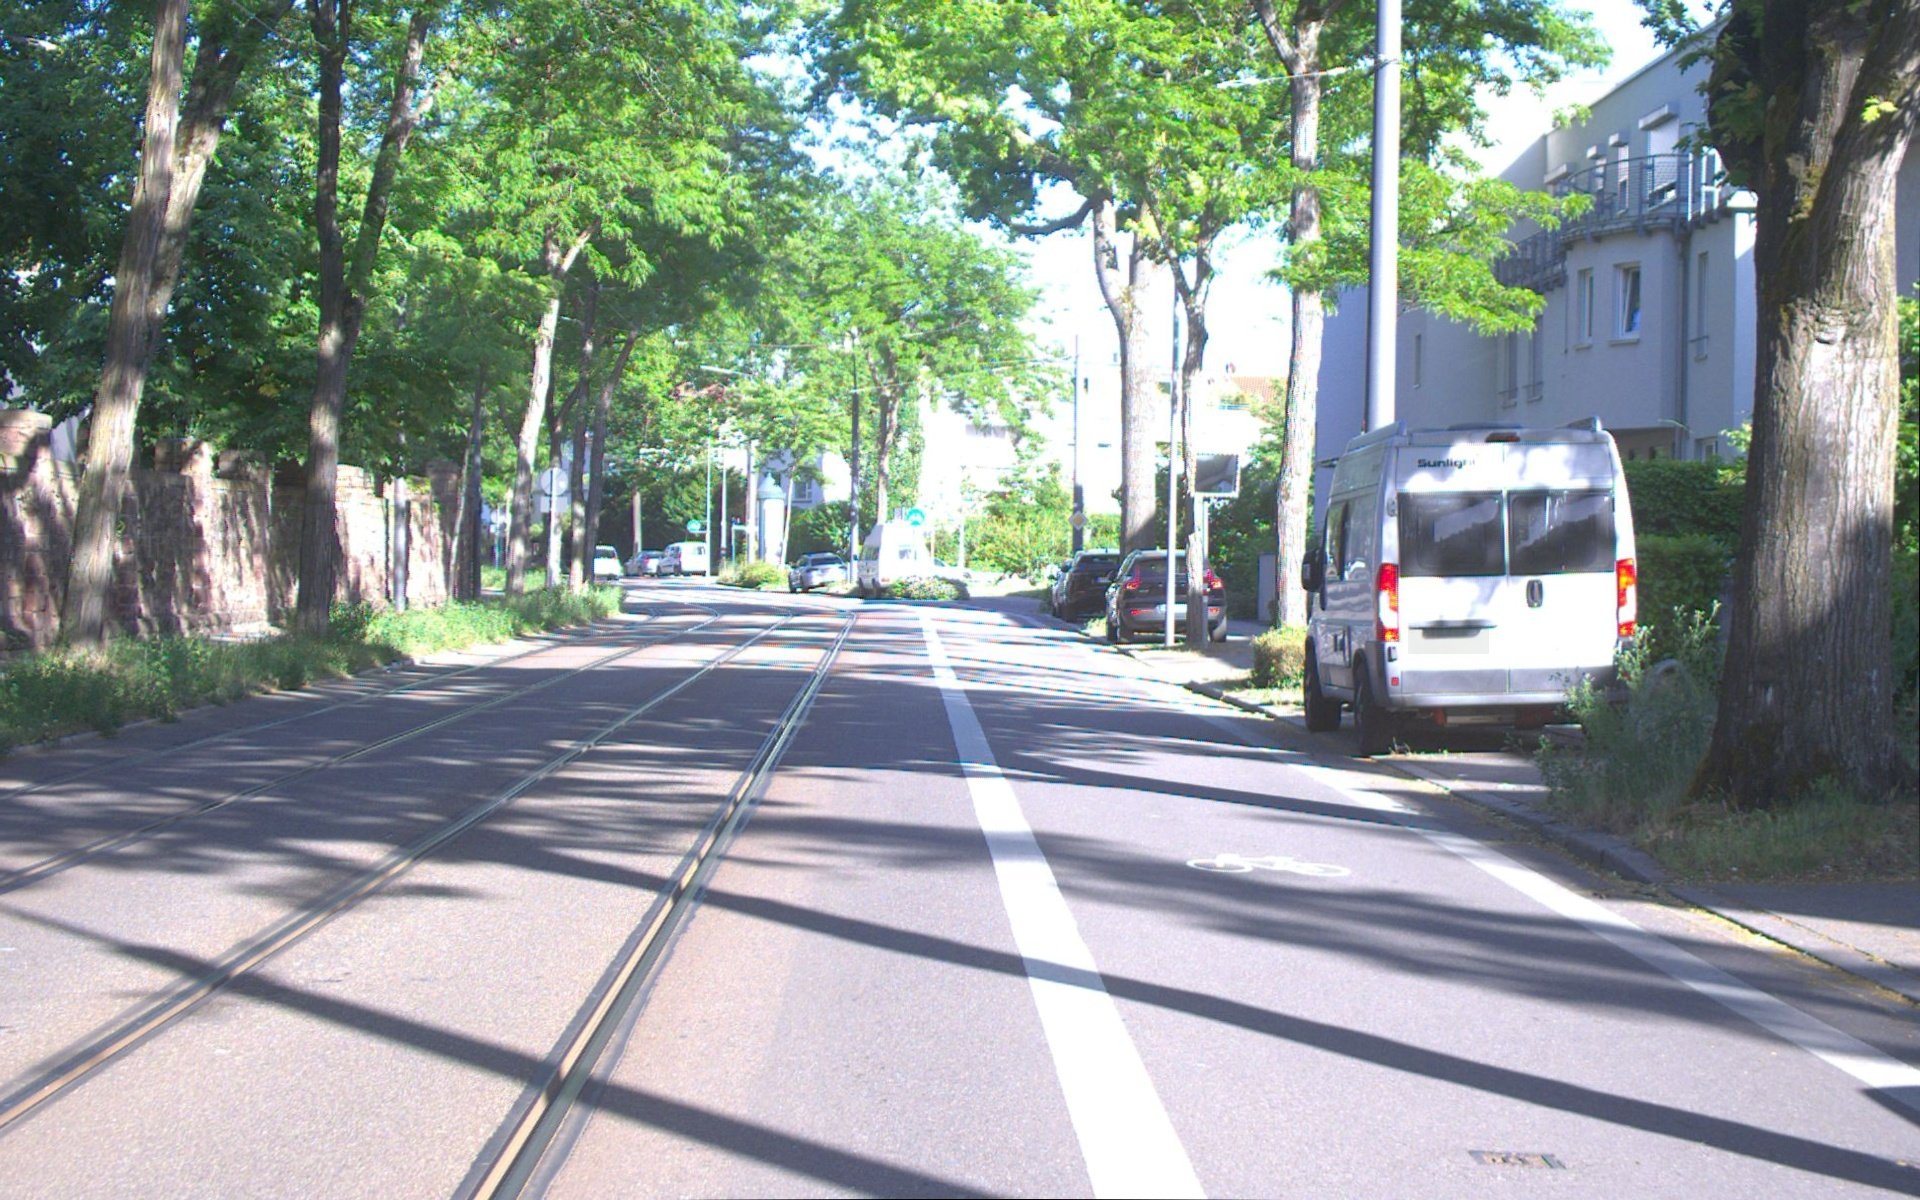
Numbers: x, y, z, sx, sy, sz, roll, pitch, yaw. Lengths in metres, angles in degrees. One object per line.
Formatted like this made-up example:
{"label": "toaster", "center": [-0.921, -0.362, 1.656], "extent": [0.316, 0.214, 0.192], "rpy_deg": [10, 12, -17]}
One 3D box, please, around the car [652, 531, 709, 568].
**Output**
{"label": "car", "center": [-14.812, -2.671, 182.031], "extent": [2.002, 1.903, 4.393], "rpy_deg": [-1, 1, -19]}

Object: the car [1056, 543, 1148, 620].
{"label": "car", "center": [3.251, -0.435, 78.266], "extent": [2.003, 1.669, 4.392], "rpy_deg": [-1, 1, 3]}

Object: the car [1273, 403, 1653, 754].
{"label": "car", "center": [4.088, -0.204, 28.986], "extent": [2.245, 2.645, 5.586], "rpy_deg": [-1, 1, -1]}

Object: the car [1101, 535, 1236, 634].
{"label": "car", "center": [3.658, -0.294, 60.959], "extent": [2.003, 1.669, 4.392], "rpy_deg": [-1, 1, -1]}

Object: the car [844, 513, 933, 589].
{"label": "car", "center": [-2.409, -1.625, 114.380], "extent": [1.993, 2.450, 4.510], "rpy_deg": [0, 1, -14]}

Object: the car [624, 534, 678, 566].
{"label": "car", "center": [-16.874, -2.708, 187.634], "extent": [2.002, 1.669, 4.174], "rpy_deg": [-1, 1, -19]}

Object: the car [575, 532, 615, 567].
{"label": "car", "center": [-17.545, -2.427, 165.517], "extent": [1.865, 1.669, 4.174], "rpy_deg": [0, 1, -5]}

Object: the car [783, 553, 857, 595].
{"label": "car", "center": [-5.406, -1.022, 132.178], "extent": [2.002, 1.555, 4.394], "rpy_deg": [0, 1, -13]}
